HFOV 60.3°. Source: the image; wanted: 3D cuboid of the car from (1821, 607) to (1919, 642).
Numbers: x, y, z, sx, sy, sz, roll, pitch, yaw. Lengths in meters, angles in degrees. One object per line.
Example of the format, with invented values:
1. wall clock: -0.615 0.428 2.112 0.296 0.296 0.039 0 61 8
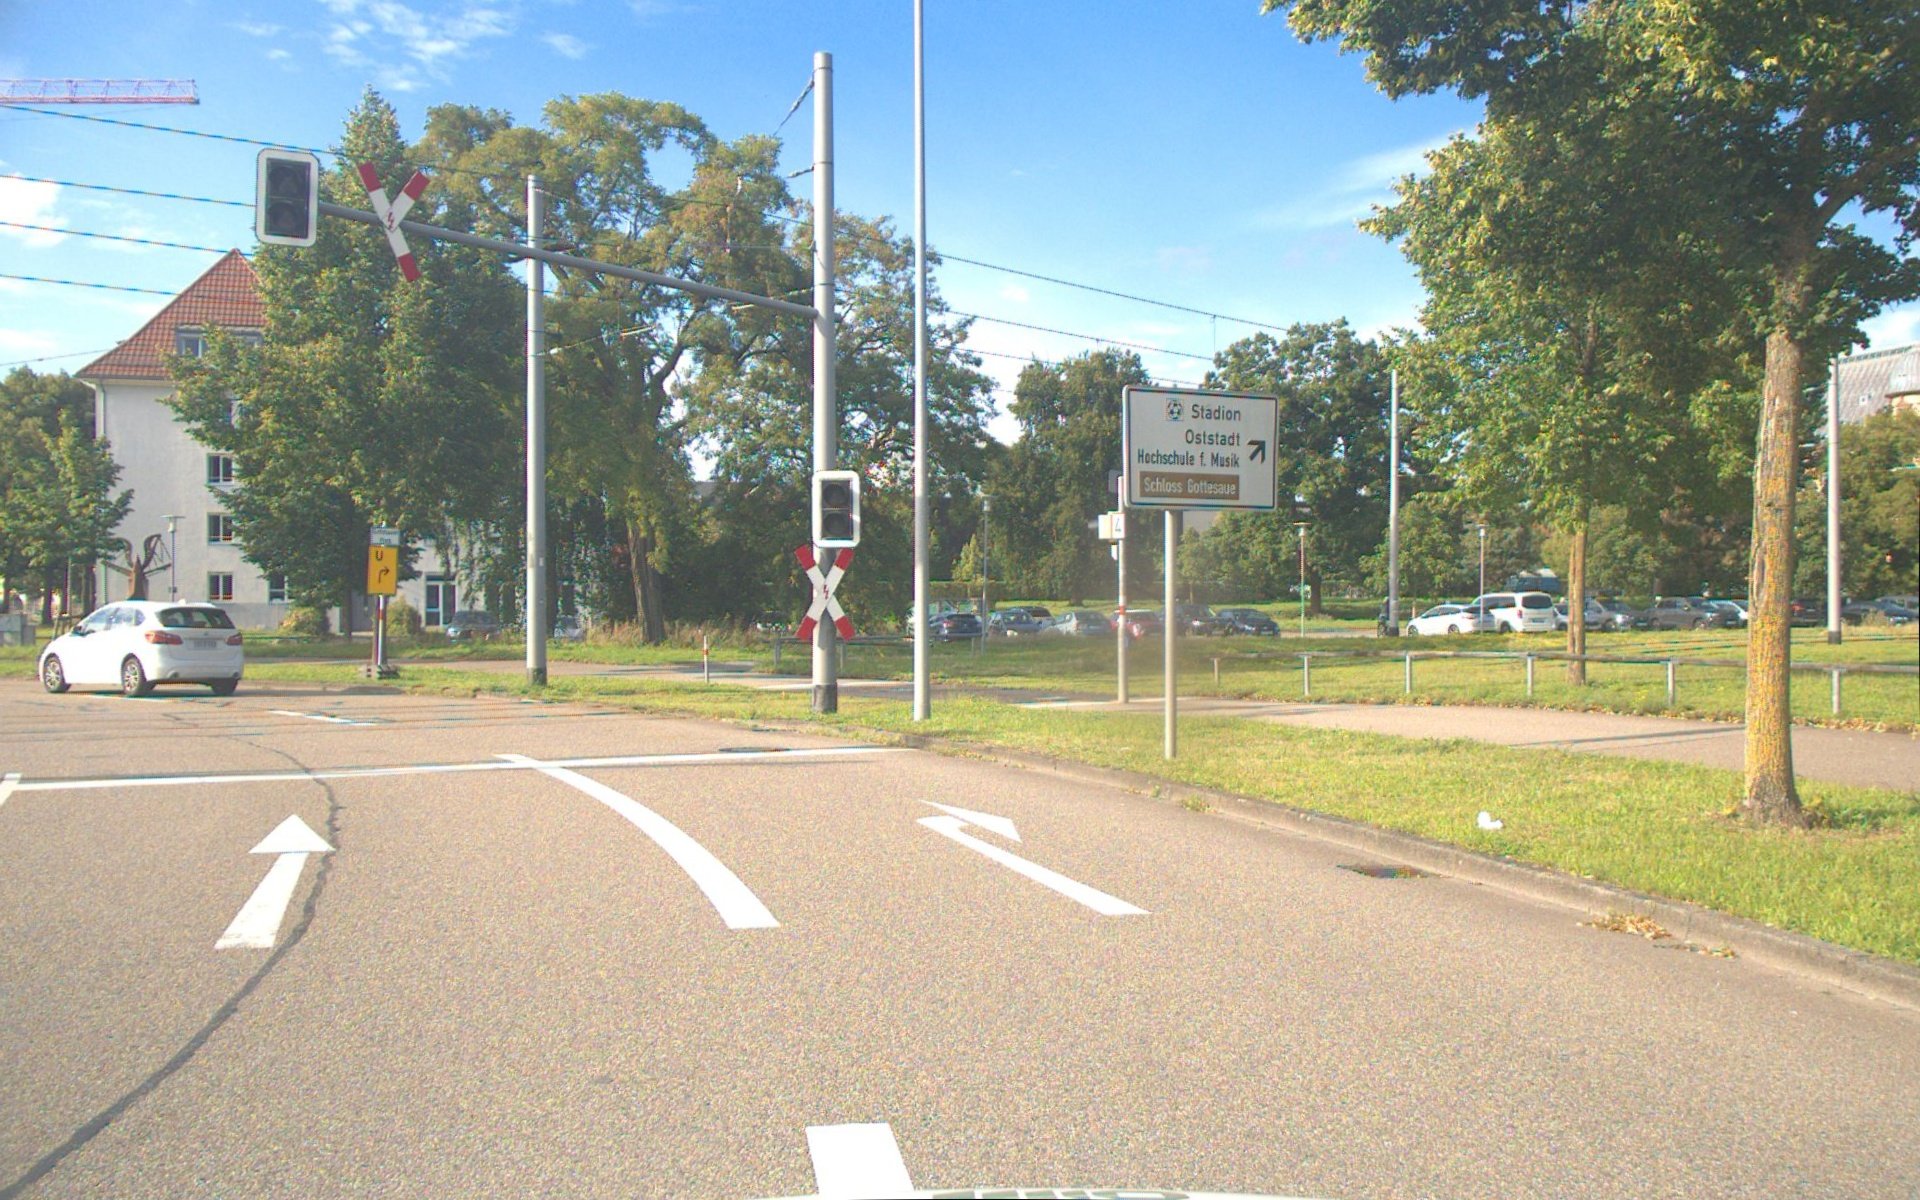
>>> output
1. car: 41.925 1.127 76.025 1.765 1.542 4.456 -1 0 -11

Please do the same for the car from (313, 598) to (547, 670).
1. car: -11.166 0.724 35.010 4.574 1.456 1.892 1 -1 -18

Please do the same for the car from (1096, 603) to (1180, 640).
1. car: 6.956 0.834 65.158 1.824 1.386 4.451 -1 0 -15

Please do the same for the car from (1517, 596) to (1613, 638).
1. car: 25.870 0.714 70.907 2.056 1.703 4.462 -1 0 -7

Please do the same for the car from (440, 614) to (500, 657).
1. car: -16.999 1.191 57.543 1.824 1.405 4.497 -1 0 -15

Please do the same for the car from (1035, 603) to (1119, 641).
1. car: 4.512 0.851 64.578 1.824 1.382 4.814 -1 0 -15

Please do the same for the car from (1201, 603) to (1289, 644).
1. car: 11.411 0.934 66.516 1.824 1.542 4.451 -1 0 -15

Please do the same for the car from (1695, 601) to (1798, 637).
1. car: 34.759 0.838 73.248 1.822 1.531 4.456 -1 0 -11

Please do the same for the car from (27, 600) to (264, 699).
1. car: -14.225 0.822 28.801 4.364 1.600 1.850 0 -1 35

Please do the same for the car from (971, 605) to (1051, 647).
1. car: 1.910 0.977 63.408 1.824 1.542 4.729 -1 0 -15

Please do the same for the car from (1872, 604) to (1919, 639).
1. car: 44.494 0.980 76.305 1.820 1.568 4.456 -1 0 -11

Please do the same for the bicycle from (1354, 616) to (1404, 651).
1. bicycle: 15.506 1.233 61.161 0.702 1.244 2.512 -1 0 43

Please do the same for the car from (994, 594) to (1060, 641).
1. car: 3.045 0.842 76.278 1.839 2.049 4.794 2 -2 -13

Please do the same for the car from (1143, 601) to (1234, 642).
1. car: 9.019 0.835 65.571 1.824 1.542 4.925 -1 0 -15

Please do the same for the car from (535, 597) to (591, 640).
1. car: -14.150 0.649 58.781 1.824 1.465 4.714 -1 0 -15

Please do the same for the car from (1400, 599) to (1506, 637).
1. car: 20.463 0.747 68.839 1.829 1.542 4.438 -1 0 -22

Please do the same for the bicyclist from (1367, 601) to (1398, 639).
1. bicyclist: 15.633 0.736 61.217 0.702 1.379 0.999 -1 0 43

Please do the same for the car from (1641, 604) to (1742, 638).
1. car: 32.121 0.897 72.719 1.822 1.423 4.456 -1 0 -11

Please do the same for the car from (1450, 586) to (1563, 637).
1. car: 23.010 0.494 69.885 2.269 2.042 5.098 -1 0 -12

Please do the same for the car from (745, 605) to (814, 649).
1. car: -6.646 0.974 60.608 1.824 1.542 4.714 -1 0 -15

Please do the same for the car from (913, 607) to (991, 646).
1. car: -0.341 0.991 62.641 1.824 1.383 4.714 -1 0 -15

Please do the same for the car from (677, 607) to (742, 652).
1. car: -9.113 1.044 59.844 1.824 1.542 4.714 -1 0 -15
